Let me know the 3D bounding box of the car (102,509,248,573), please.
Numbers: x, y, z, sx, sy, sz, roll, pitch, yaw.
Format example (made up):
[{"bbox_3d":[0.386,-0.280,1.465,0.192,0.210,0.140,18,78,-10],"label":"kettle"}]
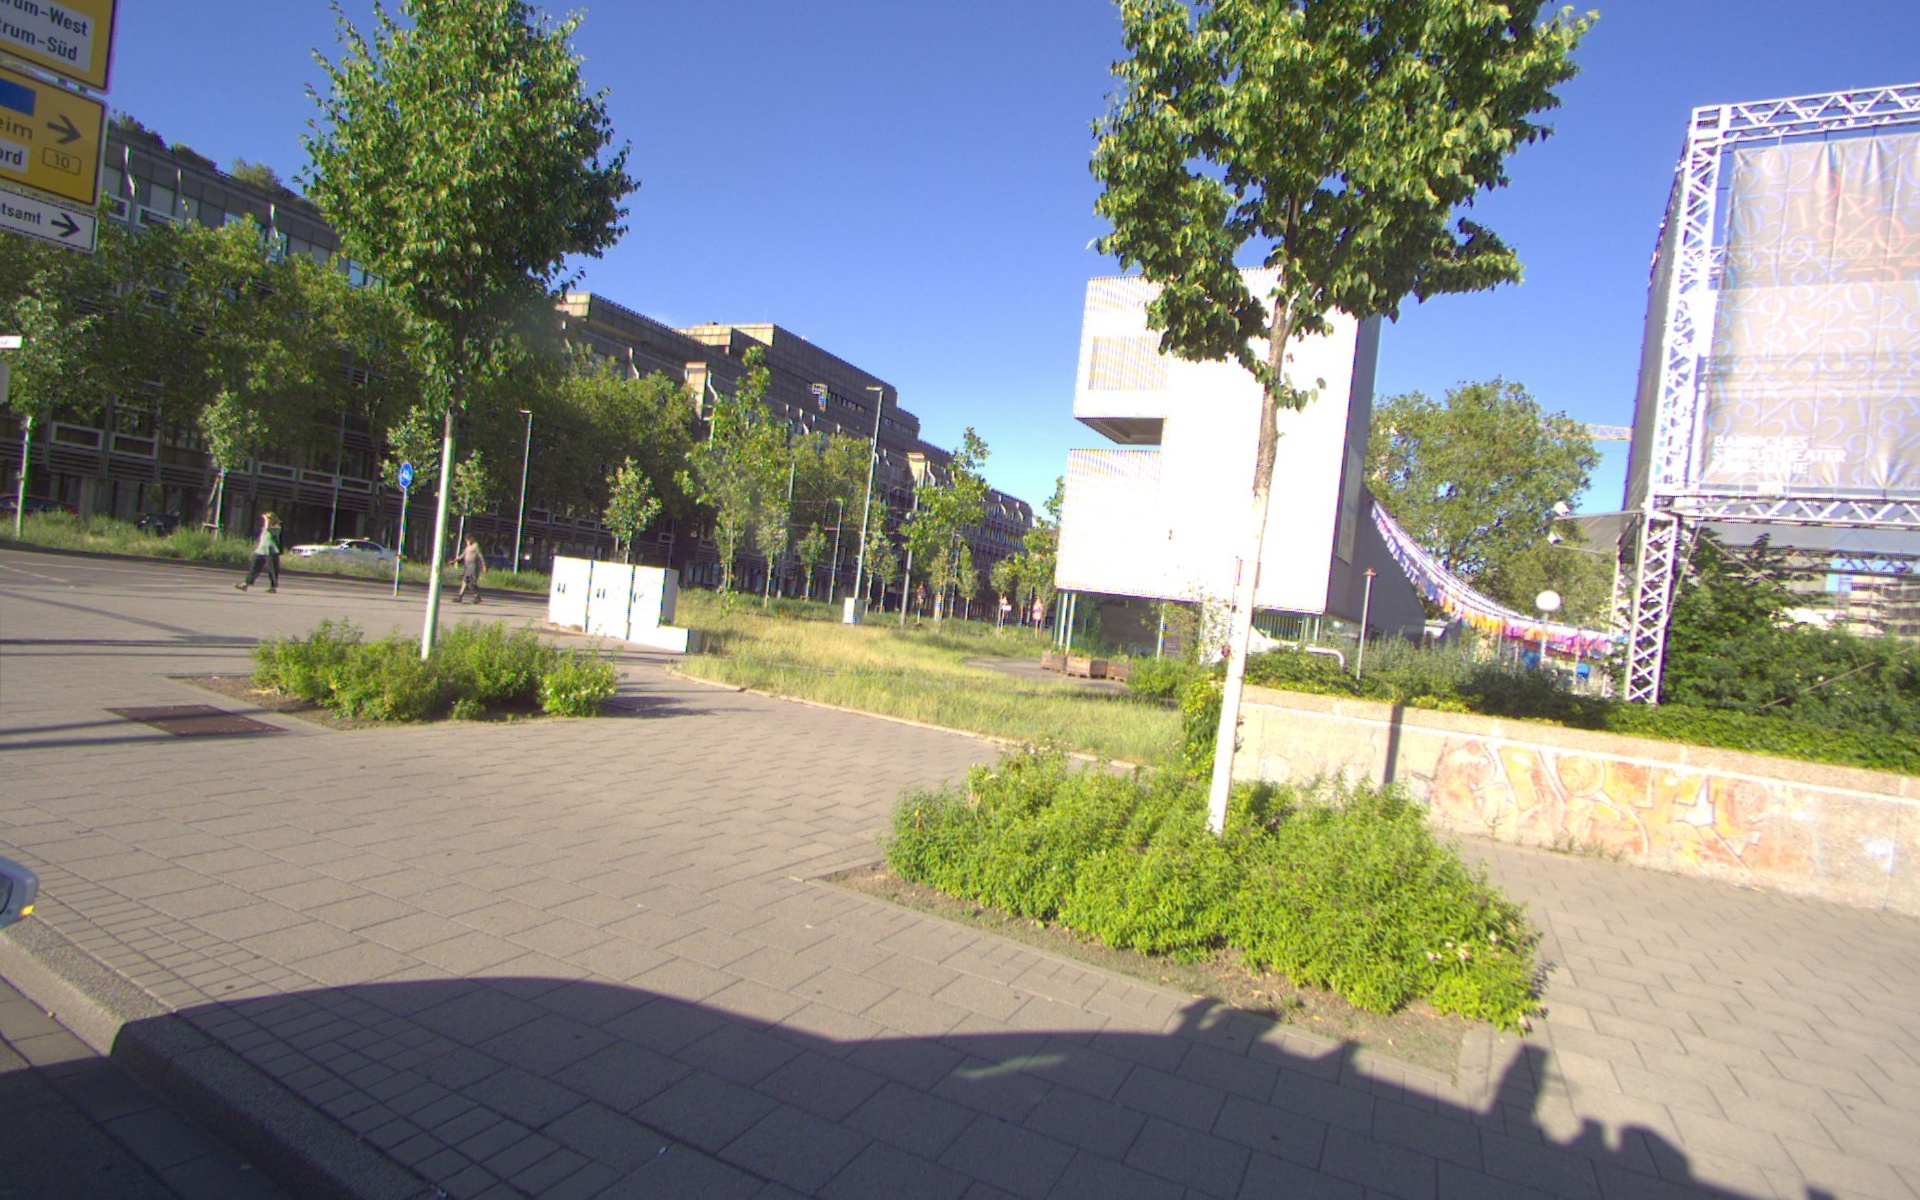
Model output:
[{"bbox_3d":[-34.114,-2.531,43.880,1.965,2.036,4.458,7,-2,27],"label":"car"}]

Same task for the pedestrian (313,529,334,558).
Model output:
[{"bbox_3d":[-39.367,-3.476,62.246,0.728,1.678,0.665,7,1,25],"label":"pedestrian"}]

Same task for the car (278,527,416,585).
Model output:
[{"bbox_3d":[-30.678,-2.183,50.583,2.062,2.036,5.455,6,-2,29],"label":"car"}]

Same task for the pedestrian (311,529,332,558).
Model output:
[{"bbox_3d":[-39.886,-3.522,62.837,0.728,1.678,0.665,7,1,25],"label":"pedestrian"}]

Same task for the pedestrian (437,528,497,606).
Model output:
[{"bbox_3d":[-11.953,-0.797,24.380,0.925,1.750,0.695,7,1,18],"label":"pedestrian"}]

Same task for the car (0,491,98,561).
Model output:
[{"bbox_3d":[-33.316,-2.712,35.373,1.966,2.037,3.997,6,-2,29],"label":"car"}]

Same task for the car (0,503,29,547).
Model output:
[{"bbox_3d":[-37.246,-3.045,36.943,1.836,1.525,3.997,7,-2,29],"label":"car"}]

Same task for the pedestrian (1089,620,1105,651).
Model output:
[{"bbox_3d":[8.075,2.078,59.189,0.613,1.750,0.787,7,1,18],"label":"pedestrian"}]

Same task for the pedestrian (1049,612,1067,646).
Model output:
[{"bbox_3d":[5.364,1.571,54.909,0.641,1.750,0.695,7,1,22],"label":"pedestrian"}]

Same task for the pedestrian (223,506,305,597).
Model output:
[{"bbox_3d":[-13.832,-0.946,20.006,0.925,1.650,0.803,7,1,18],"label":"pedestrian"}]
